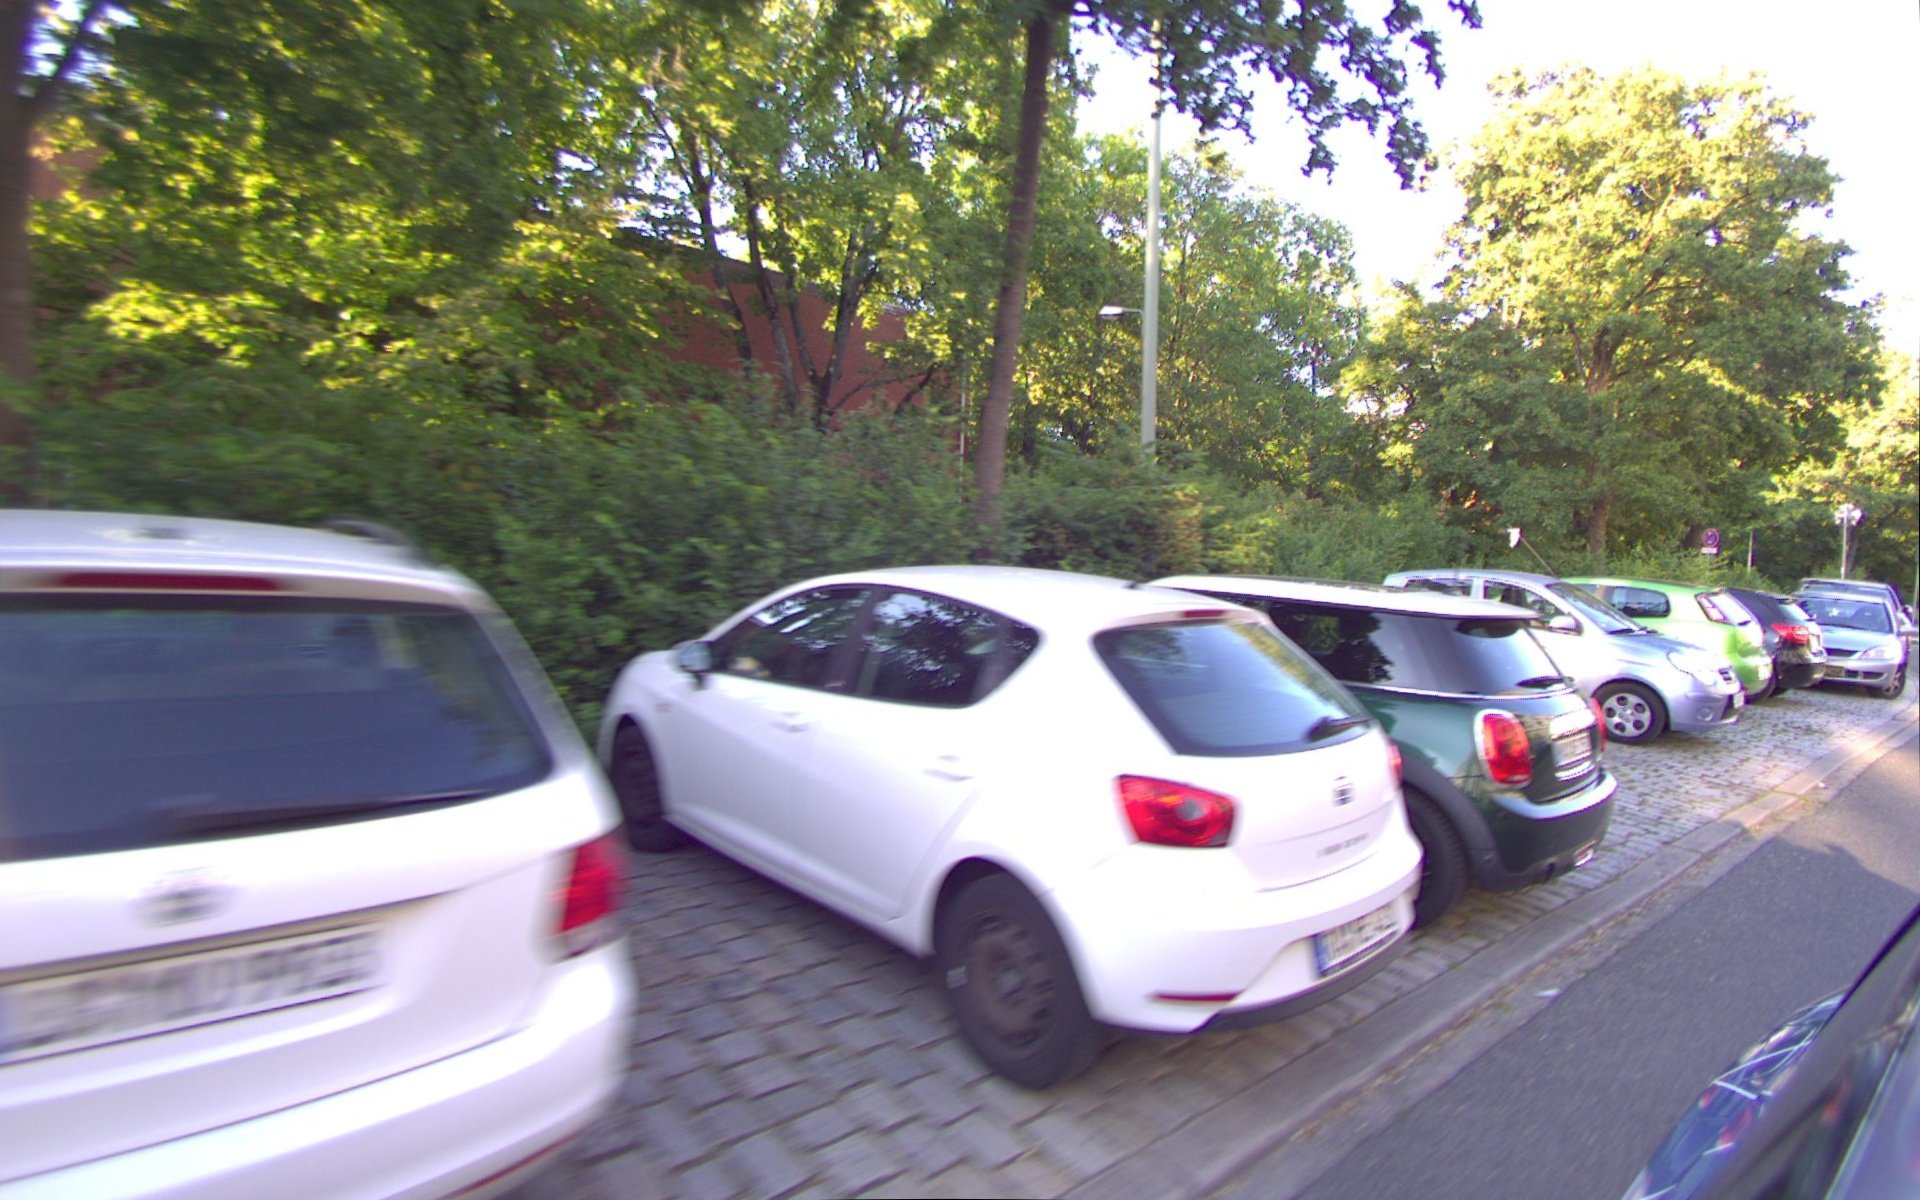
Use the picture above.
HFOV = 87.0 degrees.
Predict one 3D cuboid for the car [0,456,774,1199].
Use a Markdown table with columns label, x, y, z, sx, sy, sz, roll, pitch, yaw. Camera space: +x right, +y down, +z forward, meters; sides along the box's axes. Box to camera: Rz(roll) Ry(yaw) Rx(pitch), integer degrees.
| label | x | y | z | sx | sy | sz | roll | pitch | yaw |
| --- | --- | --- | --- | --- | --- | --- | --- | --- | --- |
| car | -2.259 | 0.435 | 2.790 | 1.705 | 1.570 | 3.675 | 0 | 6 | -42 |

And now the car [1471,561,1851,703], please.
| label | x | y | z | sx | sy | sz | roll | pitch | yaw |
| --- | --- | --- | --- | --- | --- | --- | --- | --- | --- |
| car | 9.489 | 0.311 | 13.958 | 1.709 | 1.530 | 3.958 | 0 | 4 | -41 |

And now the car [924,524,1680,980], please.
| label | x | y | z | sx | sy | sz | roll | pitch | yaw |
| --- | --- | --- | --- | --- | --- | --- | --- | --- | --- |
| car | 1.626 | 0.487 | 5.723 | 1.643 | 1.543 | 3.618 | 0 | 6 | -42 |

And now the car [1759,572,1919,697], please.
| label | x | y | z | sx | sy | sz | roll | pitch | yaw |
| --- | --- | --- | --- | --- | --- | --- | --- | --- | --- |
| car | 13.644 | 0.444 | 15.596 | 1.651 | 1.586 | 4.233 | 5 | 3 | 43 |

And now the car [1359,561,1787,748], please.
| label | x | y | z | sx | sy | sz | roll | pitch | yaw |
| --- | --- | --- | --- | --- | --- | --- | --- | --- | --- |
| car | 6.116 | 0.409 | 10.373 | 1.642 | 1.544 | 3.392 | 0 | 2 | -40 |

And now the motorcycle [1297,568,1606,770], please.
| label | x | y | z | sx | sy | sz | roll | pitch | yaw |
| --- | --- | --- | --- | --- | --- | --- | --- | --- | --- |
| motorcycle | 3.927 | 0.472 | 8.302 | 0.763 | 1.319 | 2.101 | 1 | 4 | -34 |

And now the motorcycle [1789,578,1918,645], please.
| label | x | y | z | sx | sy | sz | roll | pitch | yaw |
| --- | --- | --- | --- | --- | --- | --- | --- | --- | --- |
| motorcycle | 23.235 | 0.263 | 26.355 | 1.020 | 1.563 | 2.300 | 0 | 3 | -36 |

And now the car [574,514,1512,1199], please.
| label | x | y | z | sx | sy | sz | roll | pitch | yaw |
| --- | --- | --- | --- | --- | --- | --- | --- | --- | --- |
| car | -0.036 | 0.509 | 4.234 | 1.705 | 1.461 | 3.675 | 0 | 6 | -42 |

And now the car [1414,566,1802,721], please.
| label | x | y | z | sx | sy | sz | roll | pitch | yaw |
| --- | --- | --- | --- | --- | --- | --- | --- | --- | --- |
| car | 7.705 | 0.393 | 12.290 | 1.642 | 1.559 | 3.635 | 0 | 2 | -40 |

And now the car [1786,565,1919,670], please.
| label | x | y | z | sx | sy | sz | roll | pitch | yaw |
| --- | --- | --- | --- | --- | --- | --- | --- | --- | --- |
| car | 17.706 | 0.257 | 20.061 | 1.919 | 1.769 | 4.601 | 4 | 4 | 39 |
